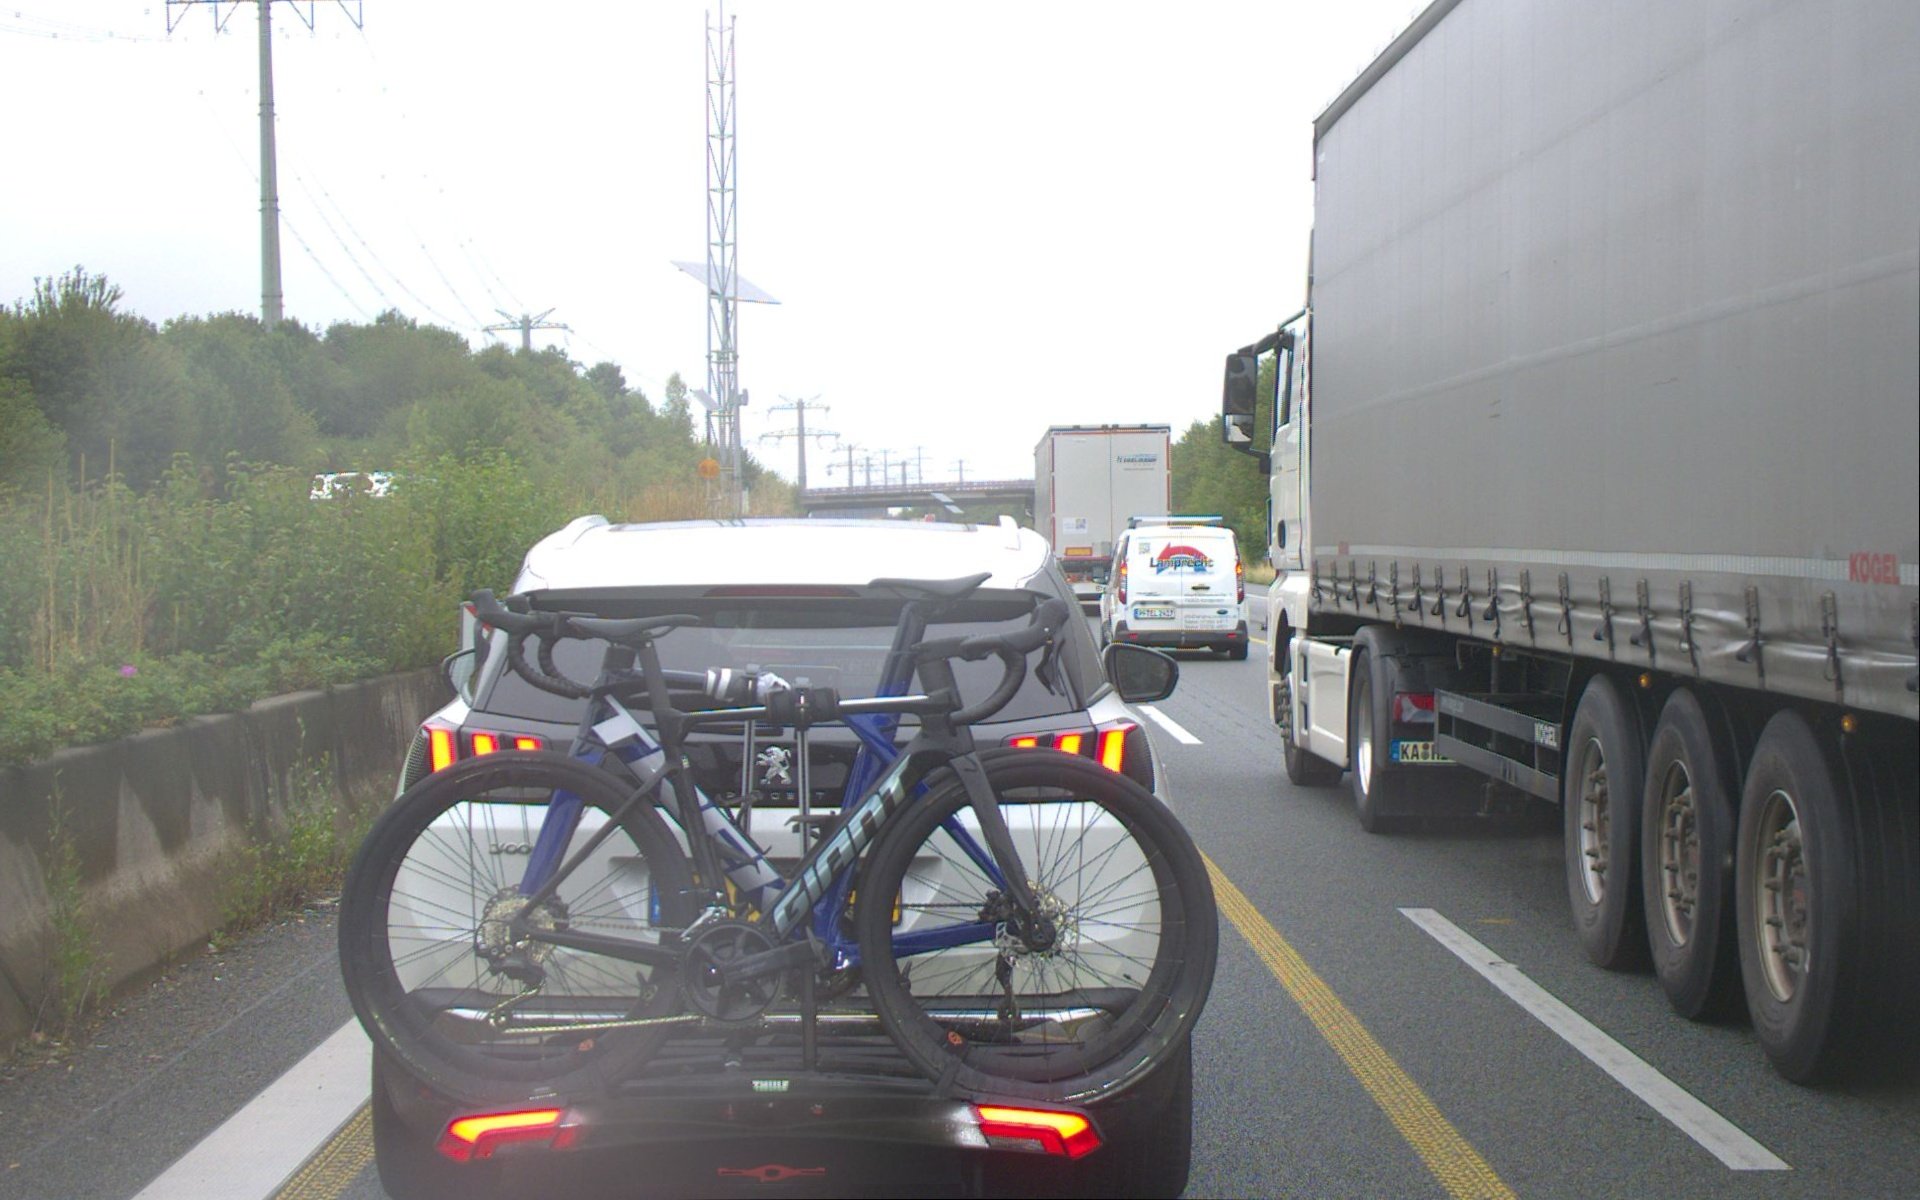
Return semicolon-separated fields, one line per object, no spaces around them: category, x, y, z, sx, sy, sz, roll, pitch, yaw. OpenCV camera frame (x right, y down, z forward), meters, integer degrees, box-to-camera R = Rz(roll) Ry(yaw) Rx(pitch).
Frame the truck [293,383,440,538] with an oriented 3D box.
truck;-16.494;-3.799;95.942;2.785;4.010;7.234;-3;1;-1

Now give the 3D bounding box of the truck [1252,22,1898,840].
truck;3.343;-0.900;20.195;2.706;4.124;5.691;0;1;-1

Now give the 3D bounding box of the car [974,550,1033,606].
car;1.611;-0.839;129.226;2.110;1.966;4.001;0;2;-1

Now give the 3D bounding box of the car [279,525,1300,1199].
car;-0.336;0.585;8.629;1.850;1.525;4.769;0;1;-1

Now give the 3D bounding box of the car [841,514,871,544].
car;-6.894;-4.691;227.551;1.931;1.904;4.001;0;2;-1

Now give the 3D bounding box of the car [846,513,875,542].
car;-6.952;-5.093;240.357;1.931;1.966;4.001;0;2;-1

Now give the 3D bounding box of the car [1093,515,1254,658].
car;2.829;-0.215;46.470;1.829;1.833;4.656;0;1;-1

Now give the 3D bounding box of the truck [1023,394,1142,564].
truck;3.004;-2.967;85.894;2.660;4.062;6.539;0;1;-1

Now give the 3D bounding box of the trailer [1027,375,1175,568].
trailer;3.096;-2.834;79.189;2.692;4.062;13.634;0;1;-1

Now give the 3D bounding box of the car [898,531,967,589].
car;-0.752;-1.105;93.629;1.850;1.525;4.000;0;1;-1

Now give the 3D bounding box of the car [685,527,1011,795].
car;-0.659;0.312;21.574;1.850;1.525;4.000;0;1;-1

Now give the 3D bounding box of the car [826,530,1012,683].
car;-0.431;0.030;36.278;1.850;1.525;4.000;0;1;-1

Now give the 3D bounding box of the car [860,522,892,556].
car;-5.116;-3.735;209.877;1.931;1.966;4.001;0;2;-1

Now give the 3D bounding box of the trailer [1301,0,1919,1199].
trailer;3.433;-0.778;13.291;2.706;4.132;13.733;0;1;-1

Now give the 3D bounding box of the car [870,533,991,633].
car;-0.476;-0.300;54.808;1.850;1.525;4.000;0;1;-1
